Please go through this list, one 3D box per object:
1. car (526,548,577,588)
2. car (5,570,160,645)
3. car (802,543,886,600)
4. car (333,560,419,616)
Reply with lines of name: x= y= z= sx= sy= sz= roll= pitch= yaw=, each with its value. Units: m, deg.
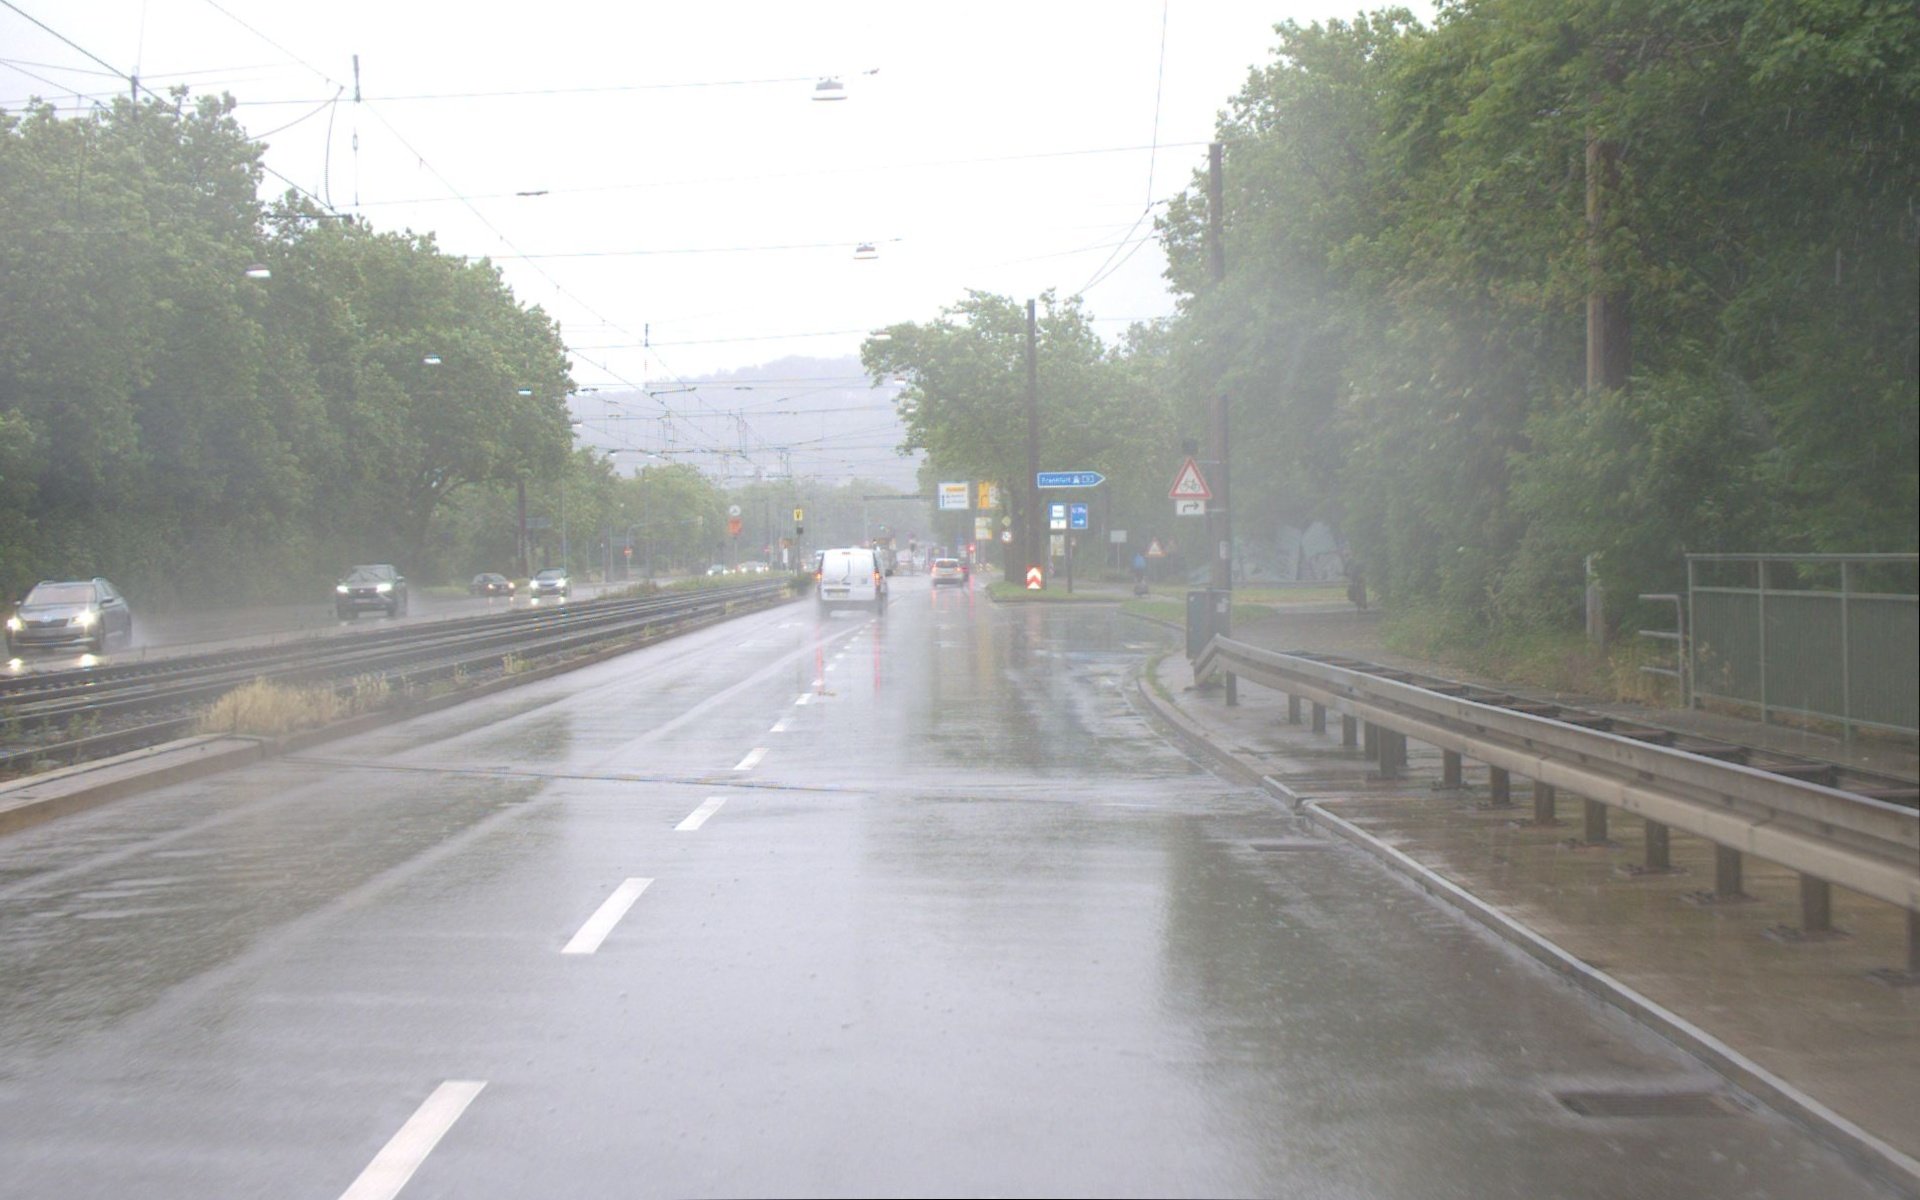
car: x=-20.103 y=-1.602 z=169.305 sx=1.993 sy=1.776 sz=4.000 roll=4 pitch=1 yaw=-1
car: x=-17.634 y=0.122 z=69.334 sx=1.993 sy=1.384 sz=4.854 roll=0 pitch=1 yaw=-2
car: x=-3.048 y=-0.755 z=90.773 sx=2.077 sy=1.415 sz=4.000 roll=-1 pitch=1 yaw=0
car: x=-18.382 y=-0.402 z=108.378 sx=1.993 sy=1.667 sz=4.873 roll=0 pitch=1 yaw=-2
